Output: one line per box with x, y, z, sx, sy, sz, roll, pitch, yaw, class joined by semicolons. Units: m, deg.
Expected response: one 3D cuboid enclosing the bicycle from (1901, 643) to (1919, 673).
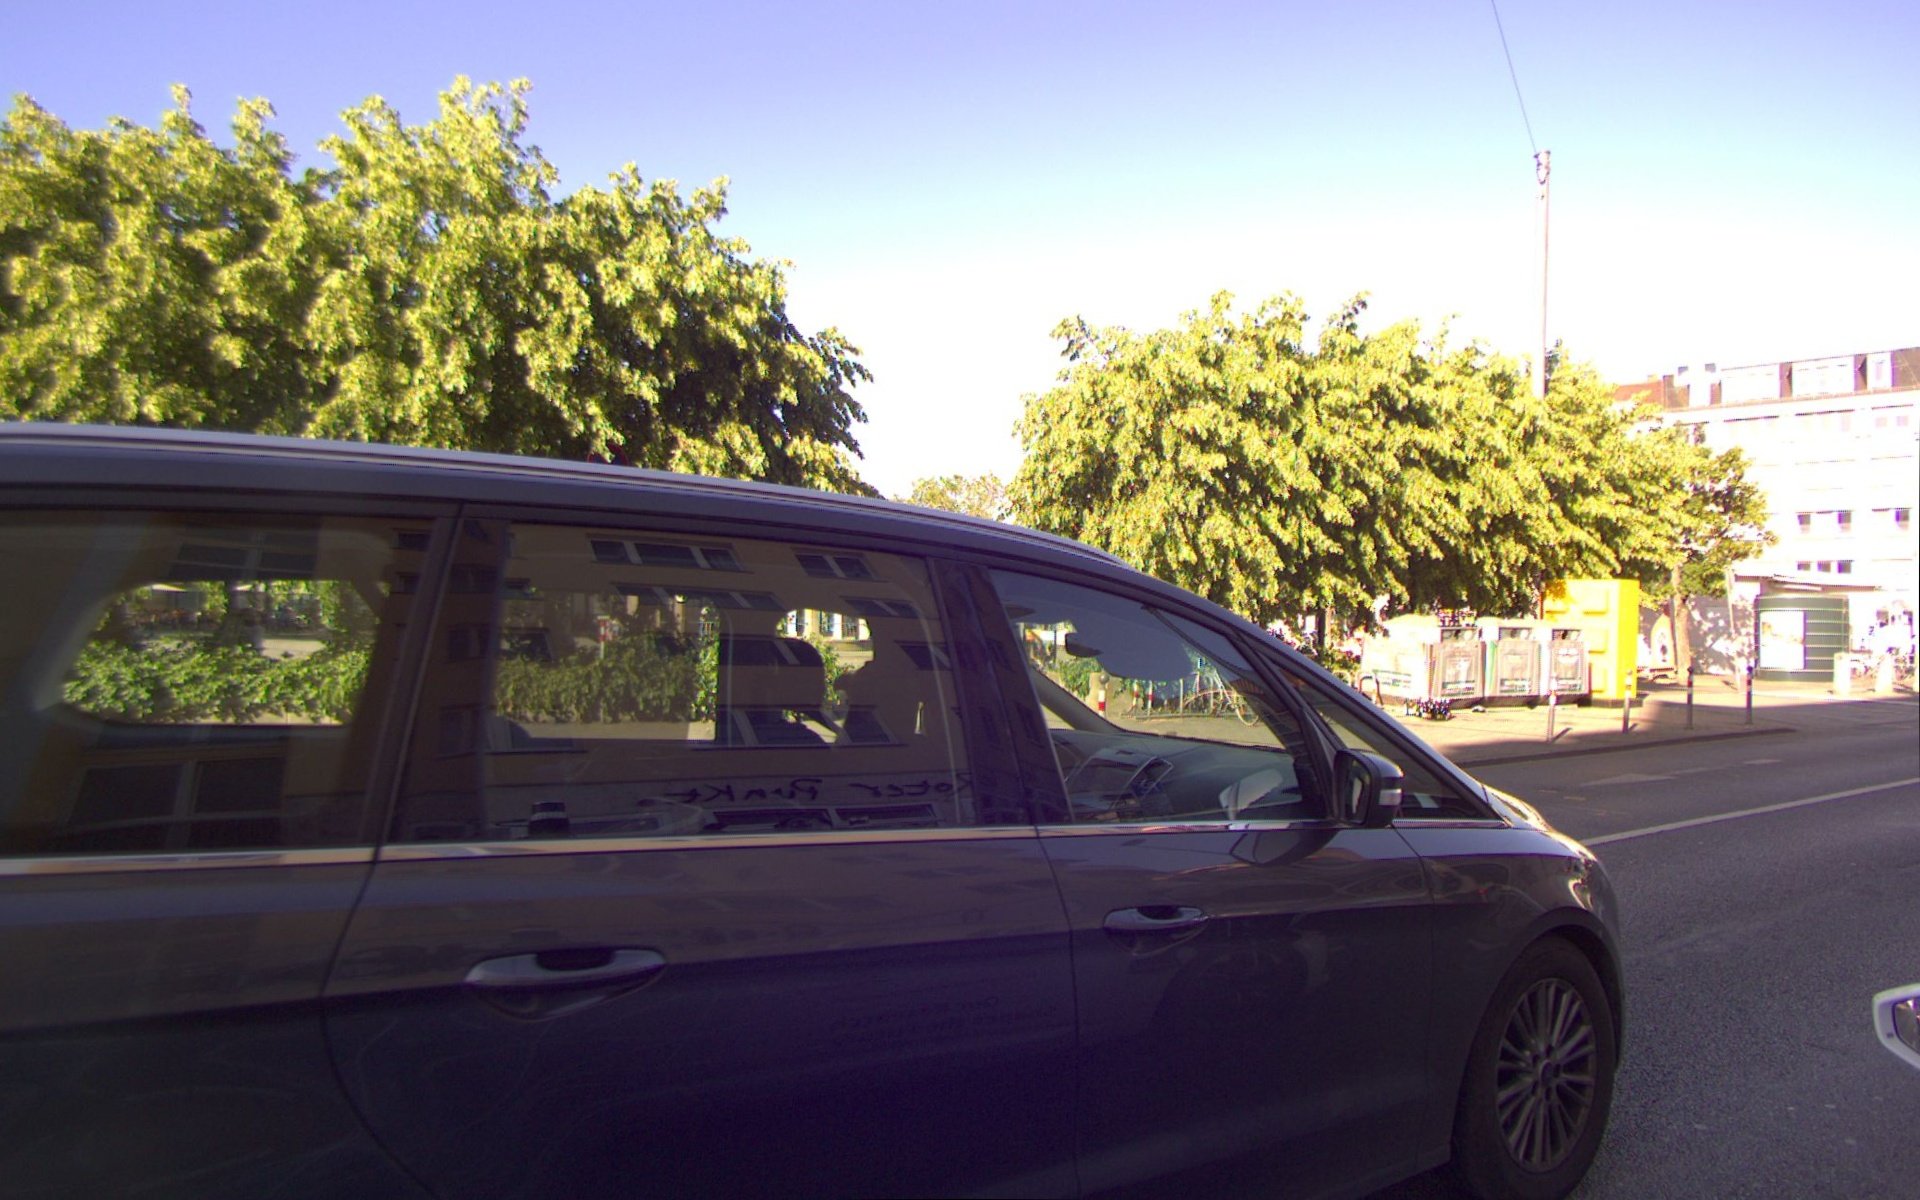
38.678;2.311;39.506;0.834;1.171;2.308;1;-1;-34;bicycle

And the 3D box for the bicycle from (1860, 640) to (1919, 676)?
33.120;2.033;35.031;0.833;1.171;2.449;1;-1;-31;bicycle

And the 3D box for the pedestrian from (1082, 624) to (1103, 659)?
7.913;2.462;59.978;0.889;2.040;0.990;1;-1;-13;pedestrian

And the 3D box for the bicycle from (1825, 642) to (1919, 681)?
30.904;2.053;33.867;0.833;1.171;2.493;1;-1;-31;bicycle

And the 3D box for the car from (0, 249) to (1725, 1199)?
-0.252;0.601;2.570;4.675;1.795;1.983;1;-2;-32;car

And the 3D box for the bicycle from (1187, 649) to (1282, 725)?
4.216;1.321;15.545;0.425;1.031;1.590;1;0;-28;bicycle

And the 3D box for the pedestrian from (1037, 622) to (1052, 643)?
8.307;3.159;98.590;1.252;2.040;1.285;1;-1;-4;pedestrian

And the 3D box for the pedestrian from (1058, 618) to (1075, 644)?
8.550;2.478;80.464;0.890;2.040;1.280;1;-1;-18;pedestrian

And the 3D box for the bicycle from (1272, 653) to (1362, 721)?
5.813;1.398;16.431;0.425;0.971;1.518;0;0;-28;bicycle

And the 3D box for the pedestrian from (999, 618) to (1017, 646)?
3.610;2.394;75.565;0.807;2.040;1.043;1;-1;-41;pedestrian

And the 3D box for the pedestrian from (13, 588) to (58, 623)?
-52.039;0.319;56.551;1.233;1.937;1.451;1;0;19;pedestrian

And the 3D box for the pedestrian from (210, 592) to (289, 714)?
-10.753;0.788;15.237;0.725;1.781;0.895;1;-1;-19;pedestrian

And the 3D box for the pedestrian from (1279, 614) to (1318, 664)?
14.096;1.627;41.850;0.890;2.040;1.398;1;0;-17;pedestrian

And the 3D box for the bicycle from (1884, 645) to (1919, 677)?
36.753;2.323;38.028;0.834;1.171;2.517;1;-1;-34;bicycle

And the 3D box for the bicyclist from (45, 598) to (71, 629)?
-42.236;0.633;47.030;0.686;1.447;0.672;1;-1;28;bicyclist

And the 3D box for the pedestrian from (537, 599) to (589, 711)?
-6.514;0.885;16.521;0.725;1.781;0.895;1;-1;-19;pedestrian

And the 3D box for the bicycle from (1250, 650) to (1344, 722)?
5.385;1.354;16.129;0.425;1.036;1.561;1;-1;-28;bicycle

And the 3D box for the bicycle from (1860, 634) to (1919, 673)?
34.480;1.939;36.521;0.913;1.341;2.461;1;-1;-35;bicycle

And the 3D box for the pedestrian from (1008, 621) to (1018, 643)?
5.019;3.045;95.300;0.886;2.040;1.286;1;-1;6;pedestrian
